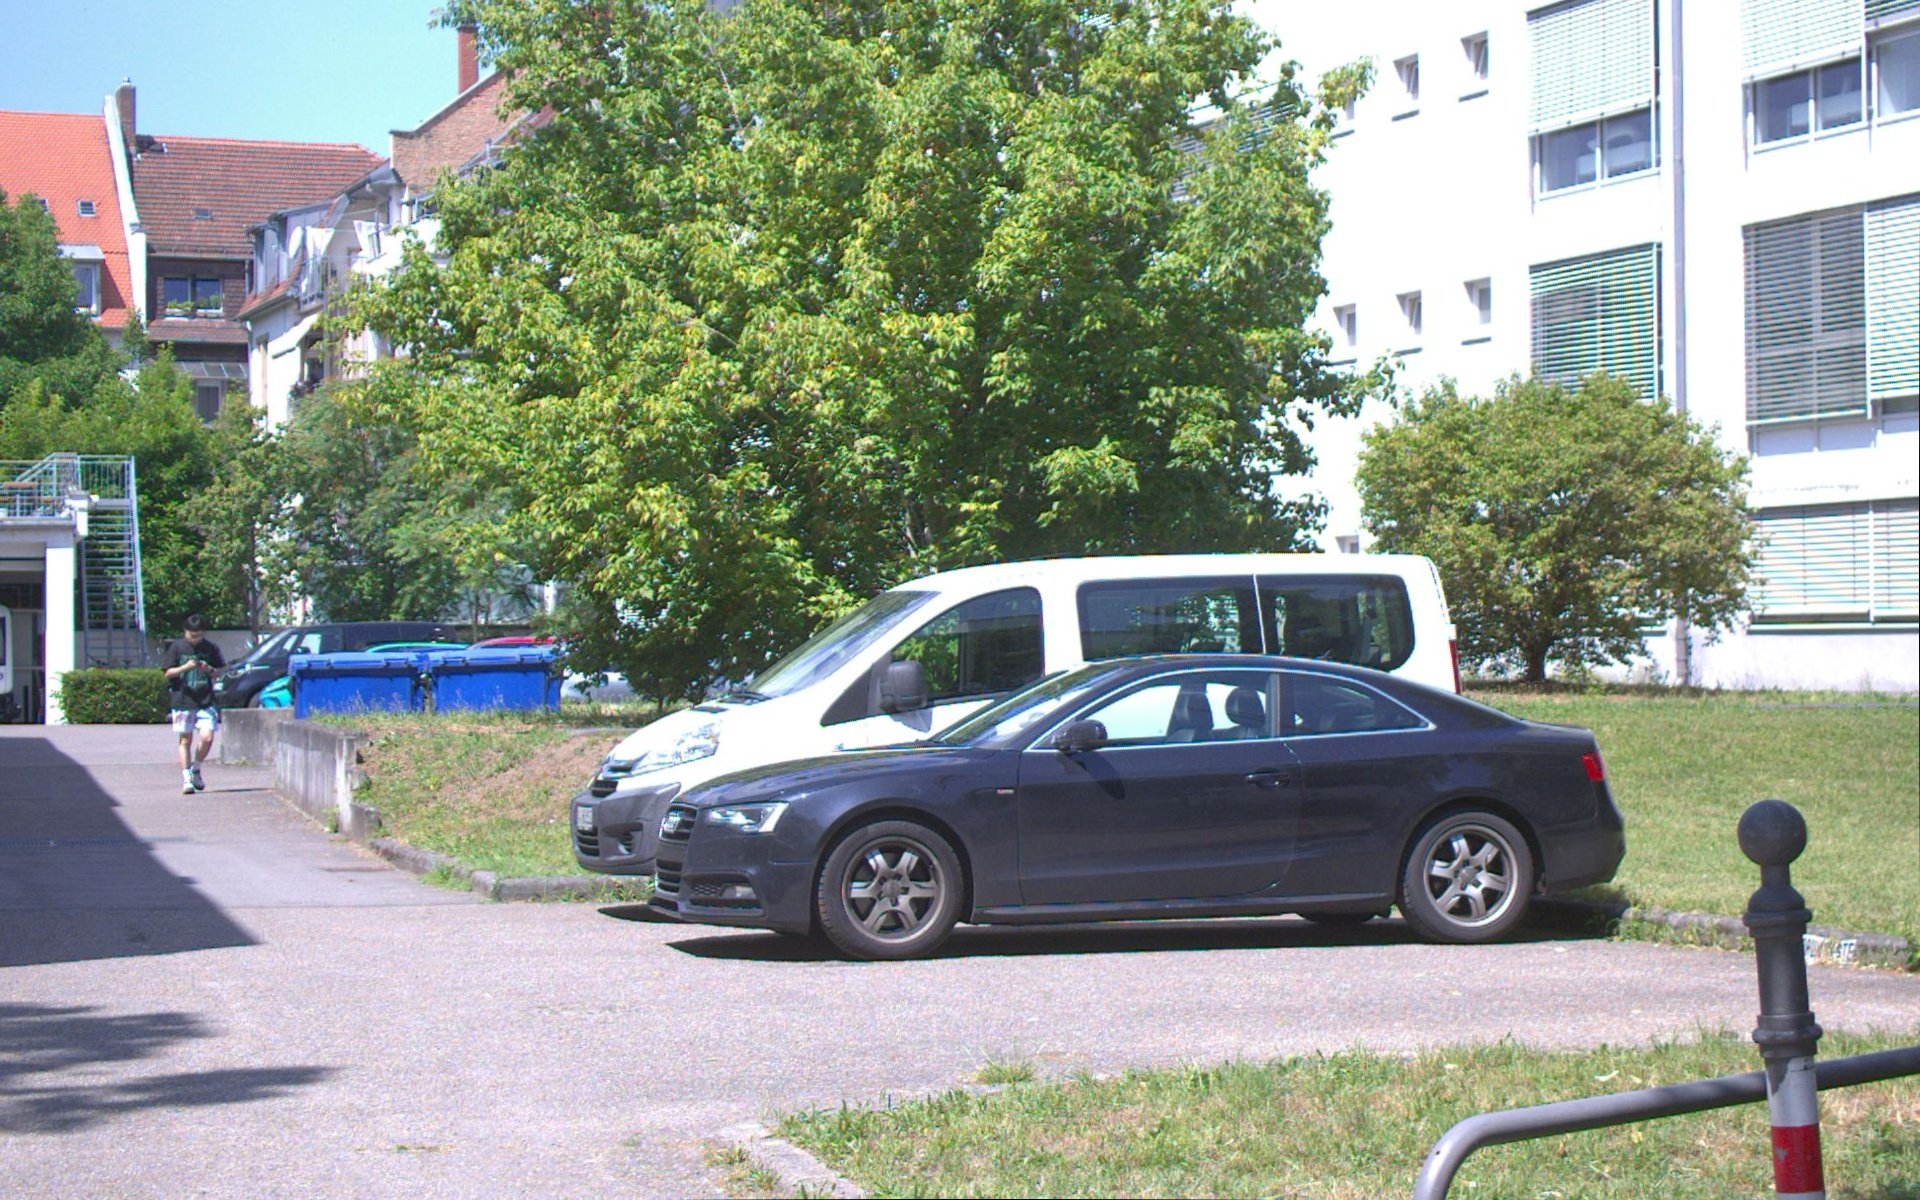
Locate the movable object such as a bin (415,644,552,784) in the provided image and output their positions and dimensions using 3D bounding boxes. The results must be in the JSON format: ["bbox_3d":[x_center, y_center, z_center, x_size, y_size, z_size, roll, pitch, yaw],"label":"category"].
[{"bbox_3d":[-4.695,1.110,33.815,1.216,1.322,1.161,0,0,-14],"label":"movable object such as a bin"}]

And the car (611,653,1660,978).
[{"bbox_3d":[0.797,0.948,16.271,4.610,1.348,1.834,0,0,-16],"label":"car"}]

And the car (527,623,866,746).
[{"bbox_3d":[-3.373,1.051,43.824,3.986,1.473,1.805,0,0,-18],"label":"car"}]

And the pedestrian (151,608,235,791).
[{"bbox_3d":[-7.443,0.949,33.325,0.757,1.749,0.752,0,0,-15],"label":"pedestrian"}]

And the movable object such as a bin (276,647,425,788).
[{"bbox_3d":[-5.933,1.129,33.432,1.338,1.322,1.161,0,0,-14],"label":"movable object such as a bin"}]

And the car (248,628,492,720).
[{"bbox_3d":[-10.384,1.287,60.455,3.986,1.529,1.805,0,0,-18],"label":"car"}]

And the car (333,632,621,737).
[{"bbox_3d":[-7.223,1.244,51.353,3.986,1.473,1.805,0,0,-18],"label":"car"}]

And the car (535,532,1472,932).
[{"bbox_3d":[0.196,0.675,18.864,4.758,2.007,2.000,0,-1,-16],"label":"car"}]

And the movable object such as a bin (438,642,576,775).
[{"bbox_3d":[-4.692,1.105,35.540,1.216,1.322,1.161,0,0,-18],"label":"movable object such as a bin"}]

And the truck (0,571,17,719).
[{"bbox_3d":[-20.418,0.922,70.092,1.787,2.927,4.654,0,-1,-22],"label":"truck"}]

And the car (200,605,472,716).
[{"bbox_3d":[-11.495,1.087,63.302,4.676,1.951,2.077,0,0,-18],"label":"car"}]

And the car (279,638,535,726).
[{"bbox_3d":[-9.284,1.354,57.670,3.986,1.385,1.805,0,0,-18],"label":"car"}]

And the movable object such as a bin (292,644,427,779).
[{"bbox_3d":[-6.152,1.126,35.177,1.192,1.322,1.161,0,0,-18],"label":"movable object such as a bin"}]
